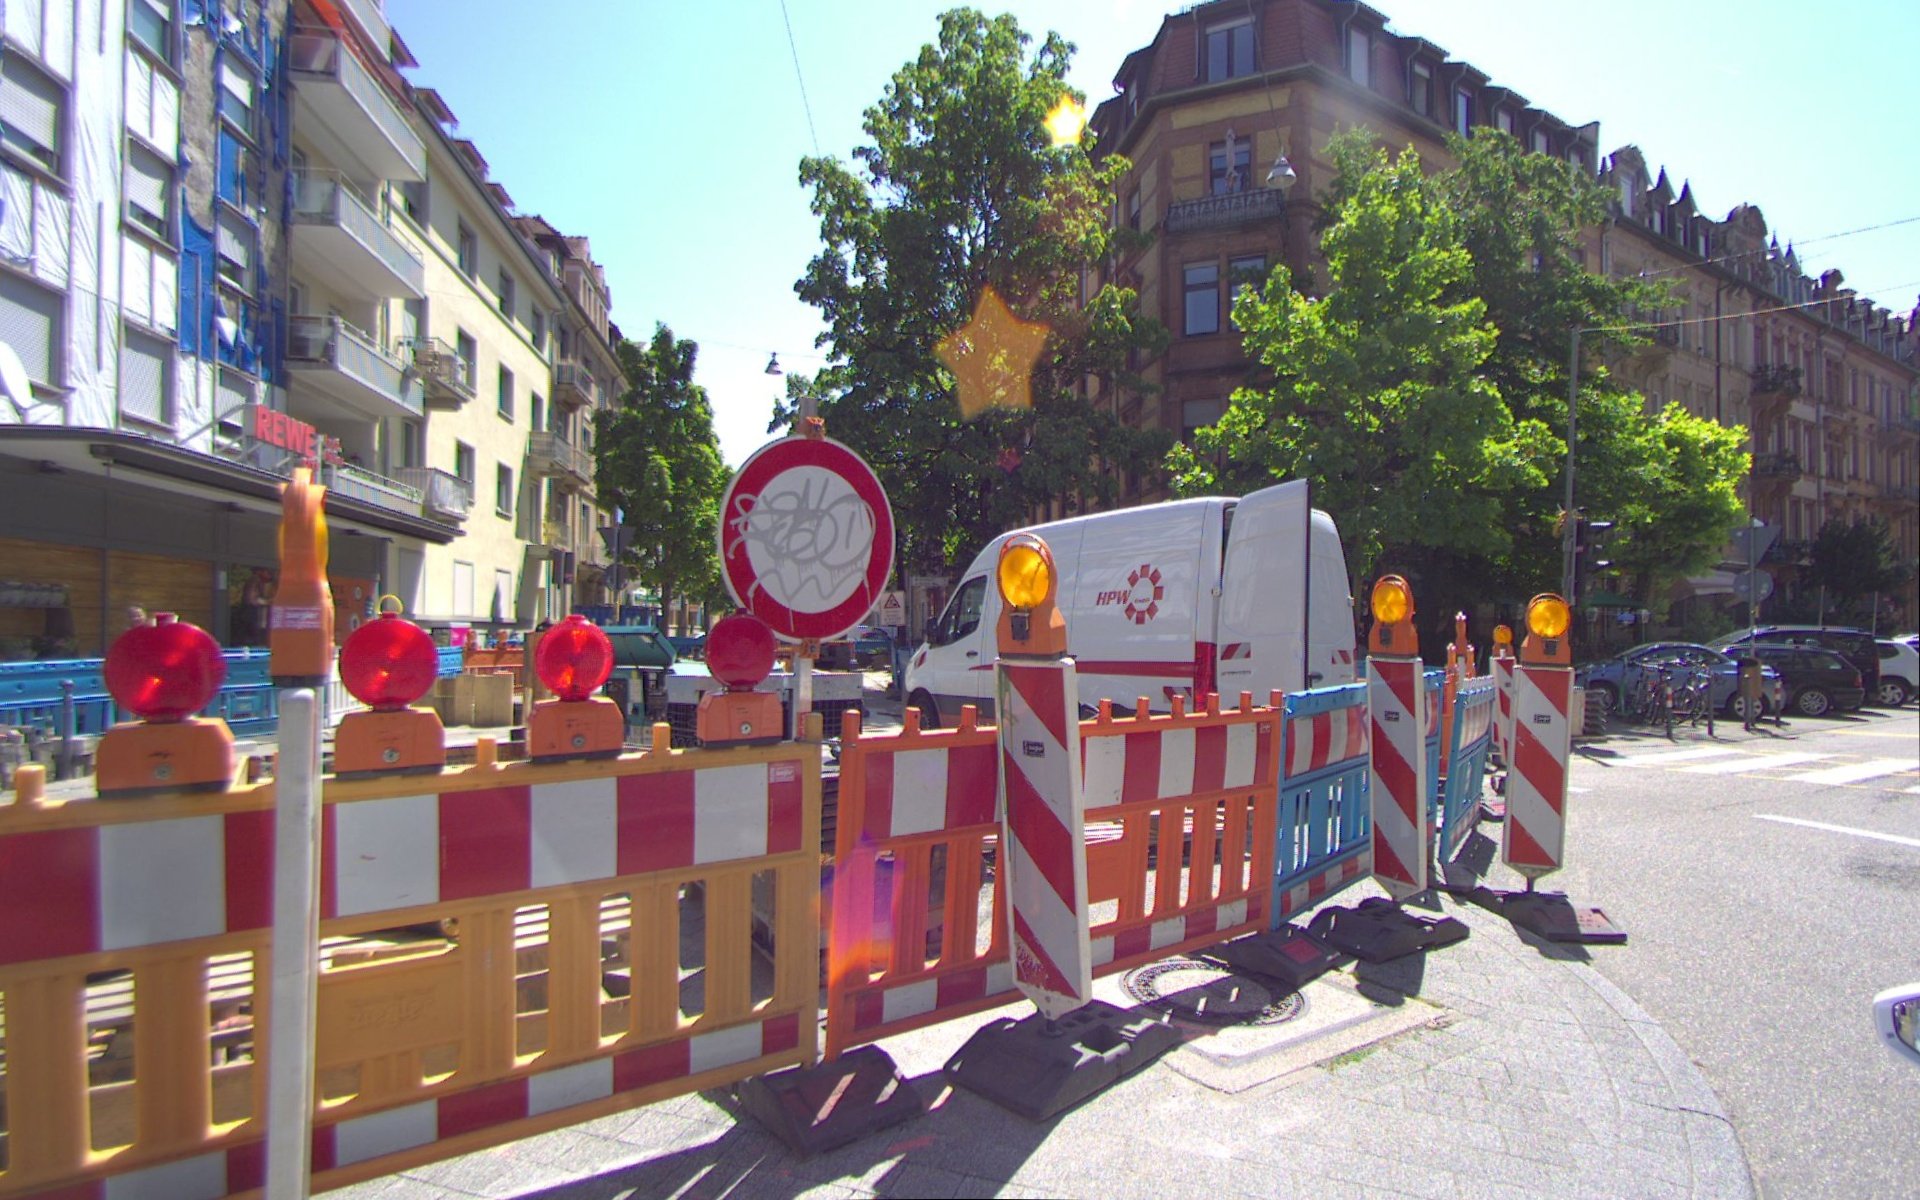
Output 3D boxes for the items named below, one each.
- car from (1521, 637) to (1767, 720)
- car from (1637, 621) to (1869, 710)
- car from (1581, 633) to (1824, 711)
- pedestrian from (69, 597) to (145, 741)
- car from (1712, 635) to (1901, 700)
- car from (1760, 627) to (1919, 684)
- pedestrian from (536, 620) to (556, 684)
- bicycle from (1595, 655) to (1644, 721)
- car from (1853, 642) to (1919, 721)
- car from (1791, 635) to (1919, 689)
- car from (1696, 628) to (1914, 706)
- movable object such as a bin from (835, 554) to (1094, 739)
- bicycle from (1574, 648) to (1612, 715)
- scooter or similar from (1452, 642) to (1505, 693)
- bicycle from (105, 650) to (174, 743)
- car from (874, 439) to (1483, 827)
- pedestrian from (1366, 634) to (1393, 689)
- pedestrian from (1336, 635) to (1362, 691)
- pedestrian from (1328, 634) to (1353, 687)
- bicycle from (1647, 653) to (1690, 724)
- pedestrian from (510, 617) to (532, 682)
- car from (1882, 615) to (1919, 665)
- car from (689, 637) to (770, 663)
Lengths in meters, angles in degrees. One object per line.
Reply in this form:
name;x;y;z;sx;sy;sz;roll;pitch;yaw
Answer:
car;13.963;1.553;20.816;3.925;1.394;1.998;1;0;26
car;18.377;1.455;23.525;3.925;1.828;1.767;1;0;26
car;16.185;1.528;22.158;3.923;1.431;1.970;1;0;23
pedestrian;-10.472;0.838;12.340;0.578;1.738;0.391;0;-1;4
car;22.267;1.729;26.605;3.566;1.477;1.621;1;0;30
car;27.109;1.653;30.613;3.844;1.640;1.867;0;-1;15
pedestrian;-13.214;1.660;32.057;0.496;2.040;0.446;0;-1;-10
bicycle;12.285;1.607;18.680;0.485;1.096;1.889;1;0;42
car;19.295;1.553;19.743;3.960;1.463;1.743;1;-3;-35
car;29.481;1.981;32.426;3.855;1.640;1.862;-1;-2;32
car;20.946;1.598;25.130;3.931;1.680;1.755;1;0;32
movable object such as a bin;-0.066;0.708;17.044;1.939;2.694;4.504;1;-1;-40
bicycle;11.897;1.510;18.865;0.334;1.172;1.612;1;0;41
scooter or similar;12.012;1.542;23.251;1.451;1.136;0.277;1;1;-27
bicycle;-10.367;1.190;12.682;1.550;1.086;0.341;-1;-2;39
car;1.684;0.391;10.643;2.354;2.787;6.585;3;-4;-32
pedestrian;9.713;1.417;23.277;0.547;1.236;0.598;0;-1;21
pedestrian;8.806;1.415;22.748;0.547;1.236;0.598;0;-1;21
pedestrian;9.058;1.422;23.905;0.547;1.236;0.598;0;-1;21
bicycle;13.008;1.592;18.427;0.485;1.189;1.676;1;0;40
pedestrian;-13.889;1.560;31.793;0.536;2.040;0.412;0;-1;-10
car;40.712;1.639;40.555;4.700;2.020;2.051;0;-2;27
car;-11.879;2.574;51.974;3.928;1.280;1.625;0;-2;-10
